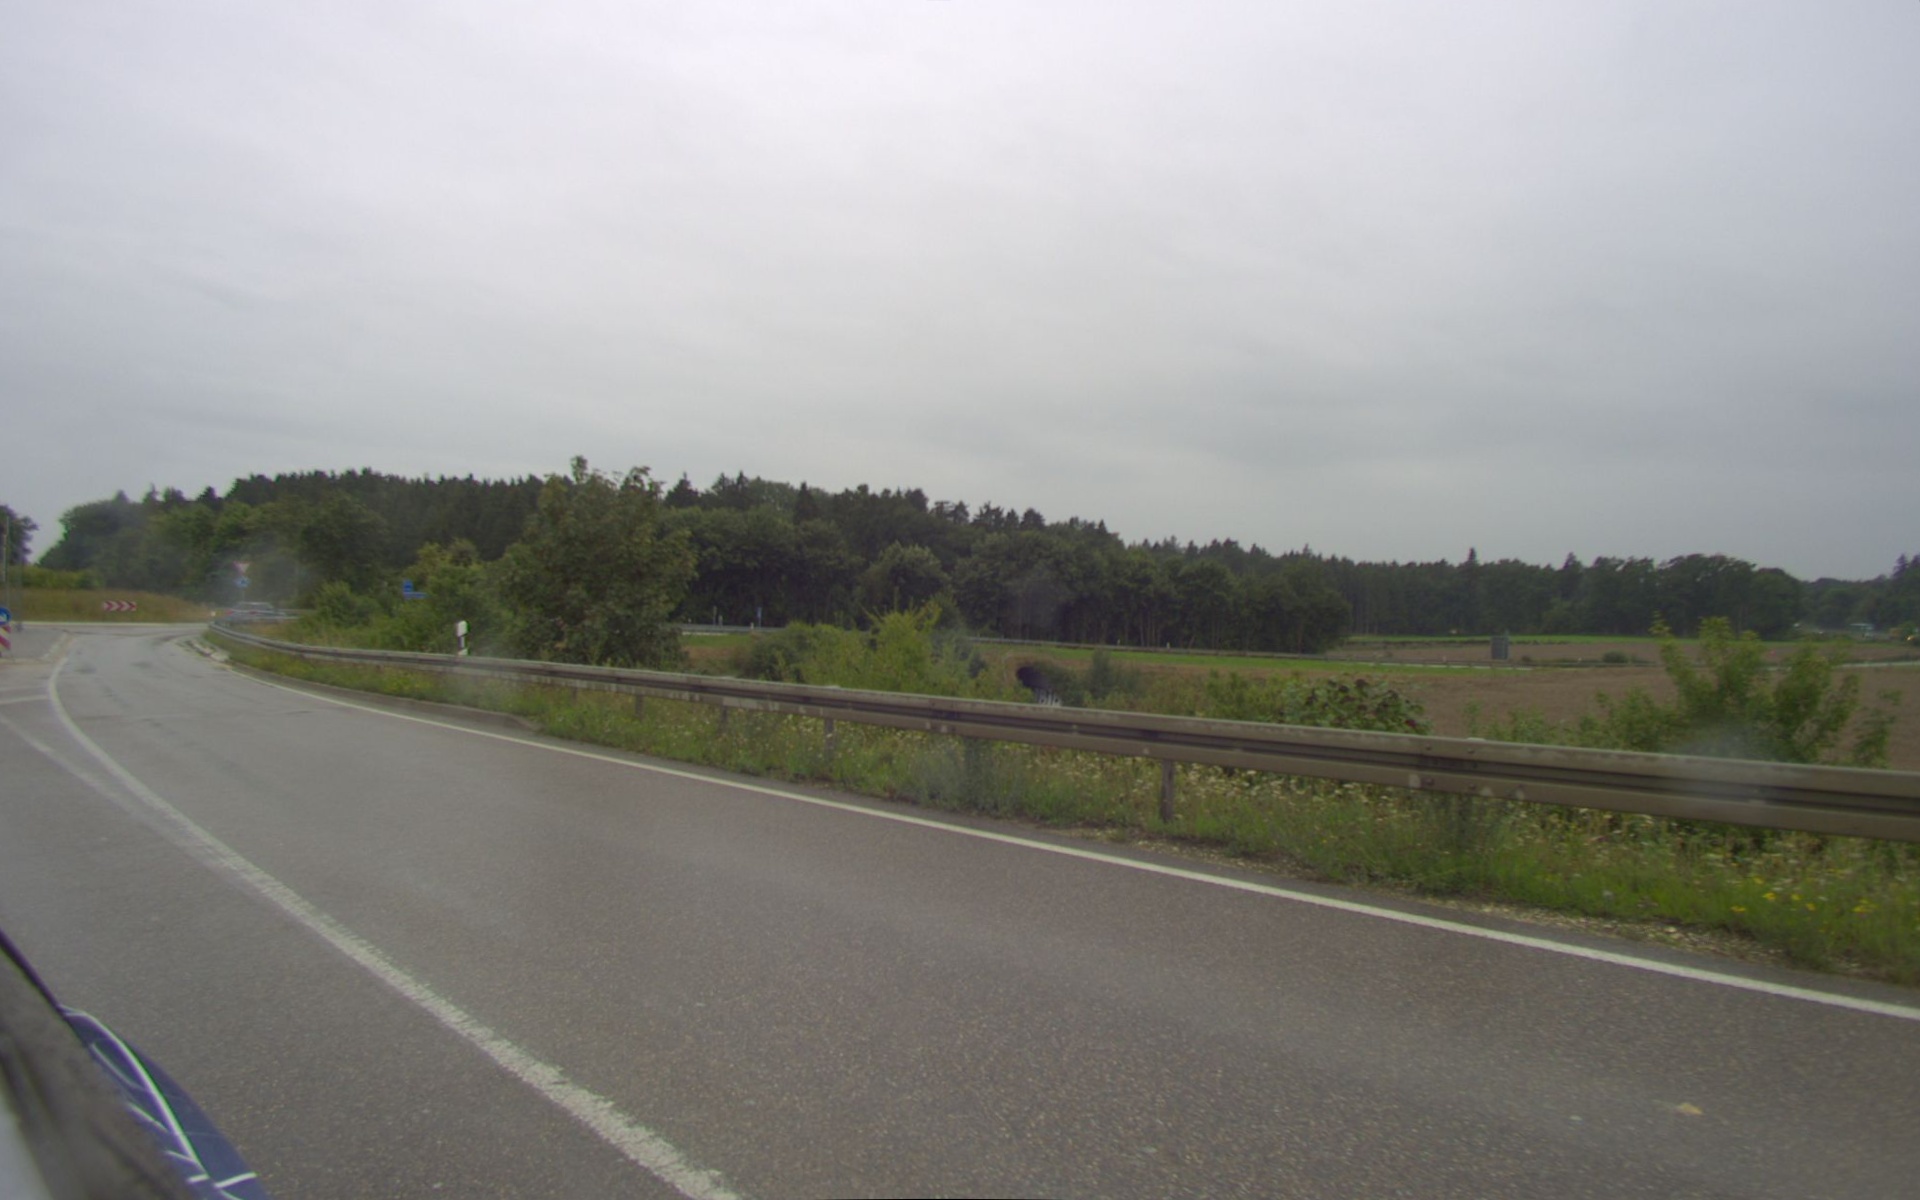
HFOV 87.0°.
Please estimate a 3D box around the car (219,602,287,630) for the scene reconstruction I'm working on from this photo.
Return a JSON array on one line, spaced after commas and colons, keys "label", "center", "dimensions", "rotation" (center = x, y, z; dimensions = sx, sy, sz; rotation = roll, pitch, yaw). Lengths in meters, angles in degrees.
[{"label": "car", "center": [-43.018, 0.965, 61.692], "dimensions": [1.778, 1.586, 4.008], "rotation": [1, 1, -8]}]
